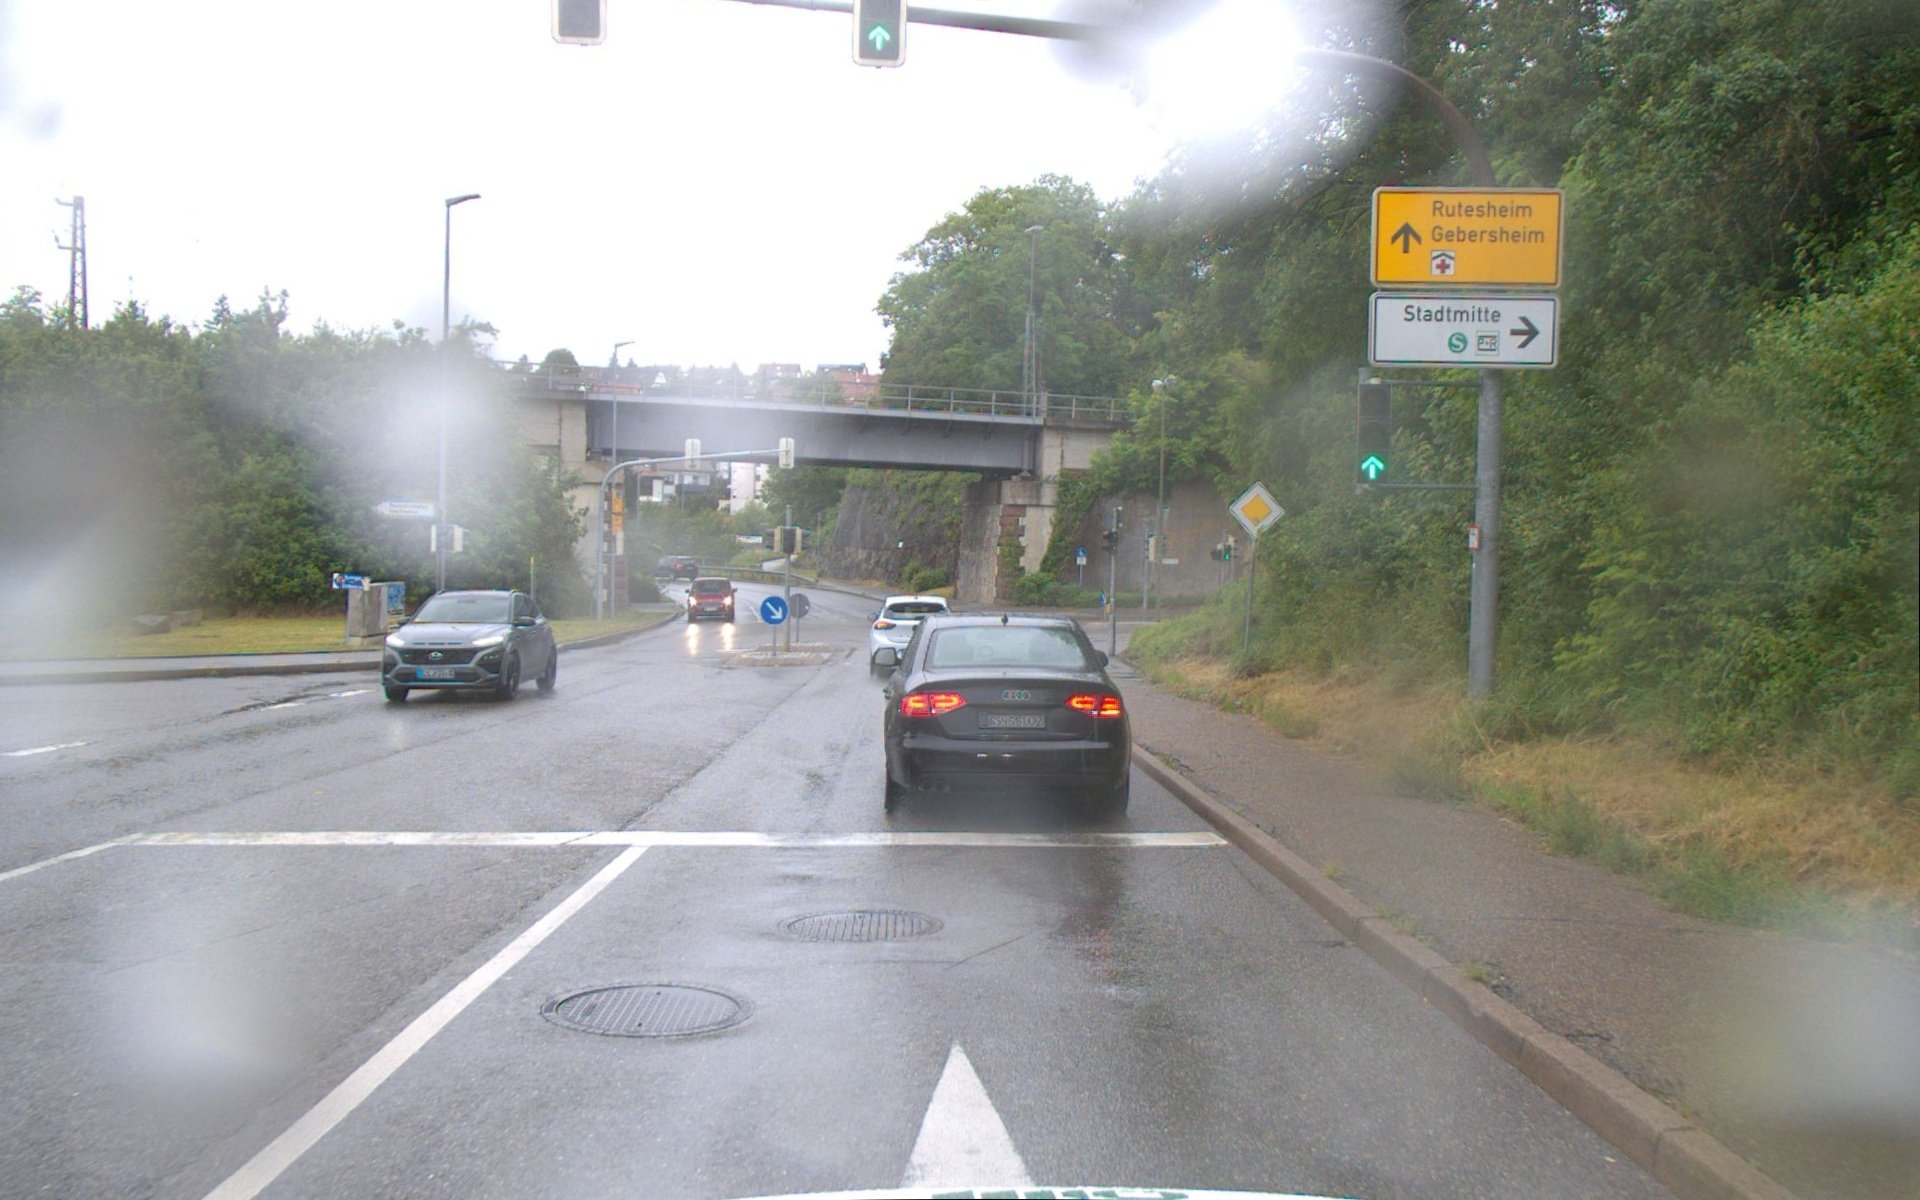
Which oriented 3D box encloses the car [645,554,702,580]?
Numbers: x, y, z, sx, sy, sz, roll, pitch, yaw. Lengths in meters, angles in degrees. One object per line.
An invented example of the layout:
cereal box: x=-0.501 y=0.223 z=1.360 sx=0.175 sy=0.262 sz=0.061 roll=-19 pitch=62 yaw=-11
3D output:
car: x=-18.894 y=-2.185 z=109.000 sx=1.982 sy=1.623 sz=3.942 roll=-1 pitch=3 yaw=-40

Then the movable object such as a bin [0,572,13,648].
movable object such as a bin: x=-23.742 y=0.203 z=35.138 sx=2.698 sy=1.656 sz=5.753 roll=-1 pitch=-1 yaw=39

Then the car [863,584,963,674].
car: x=-0.870 y=0.547 z=31.534 sx=1.786 sy=1.613 sz=3.999 roll=0 pitch=-1 yaw=-1

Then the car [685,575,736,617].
car: x=-10.102 y=-0.170 z=67.202 sx=1.956 sy=1.657 sz=3.993 roll=-1 pitch=0 yaw=-8

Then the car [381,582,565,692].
car: x=-7.112 y=0.486 z=24.518 sx=1.606 sy=1.495 sz=3.999 roll=0 pitch=0 yaw=-1

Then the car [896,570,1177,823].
car: x=0.466 y=0.664 z=12.786 sx=1.832 sy=1.645 sz=3.999 roll=0 pitch=-1 yaw=-1
